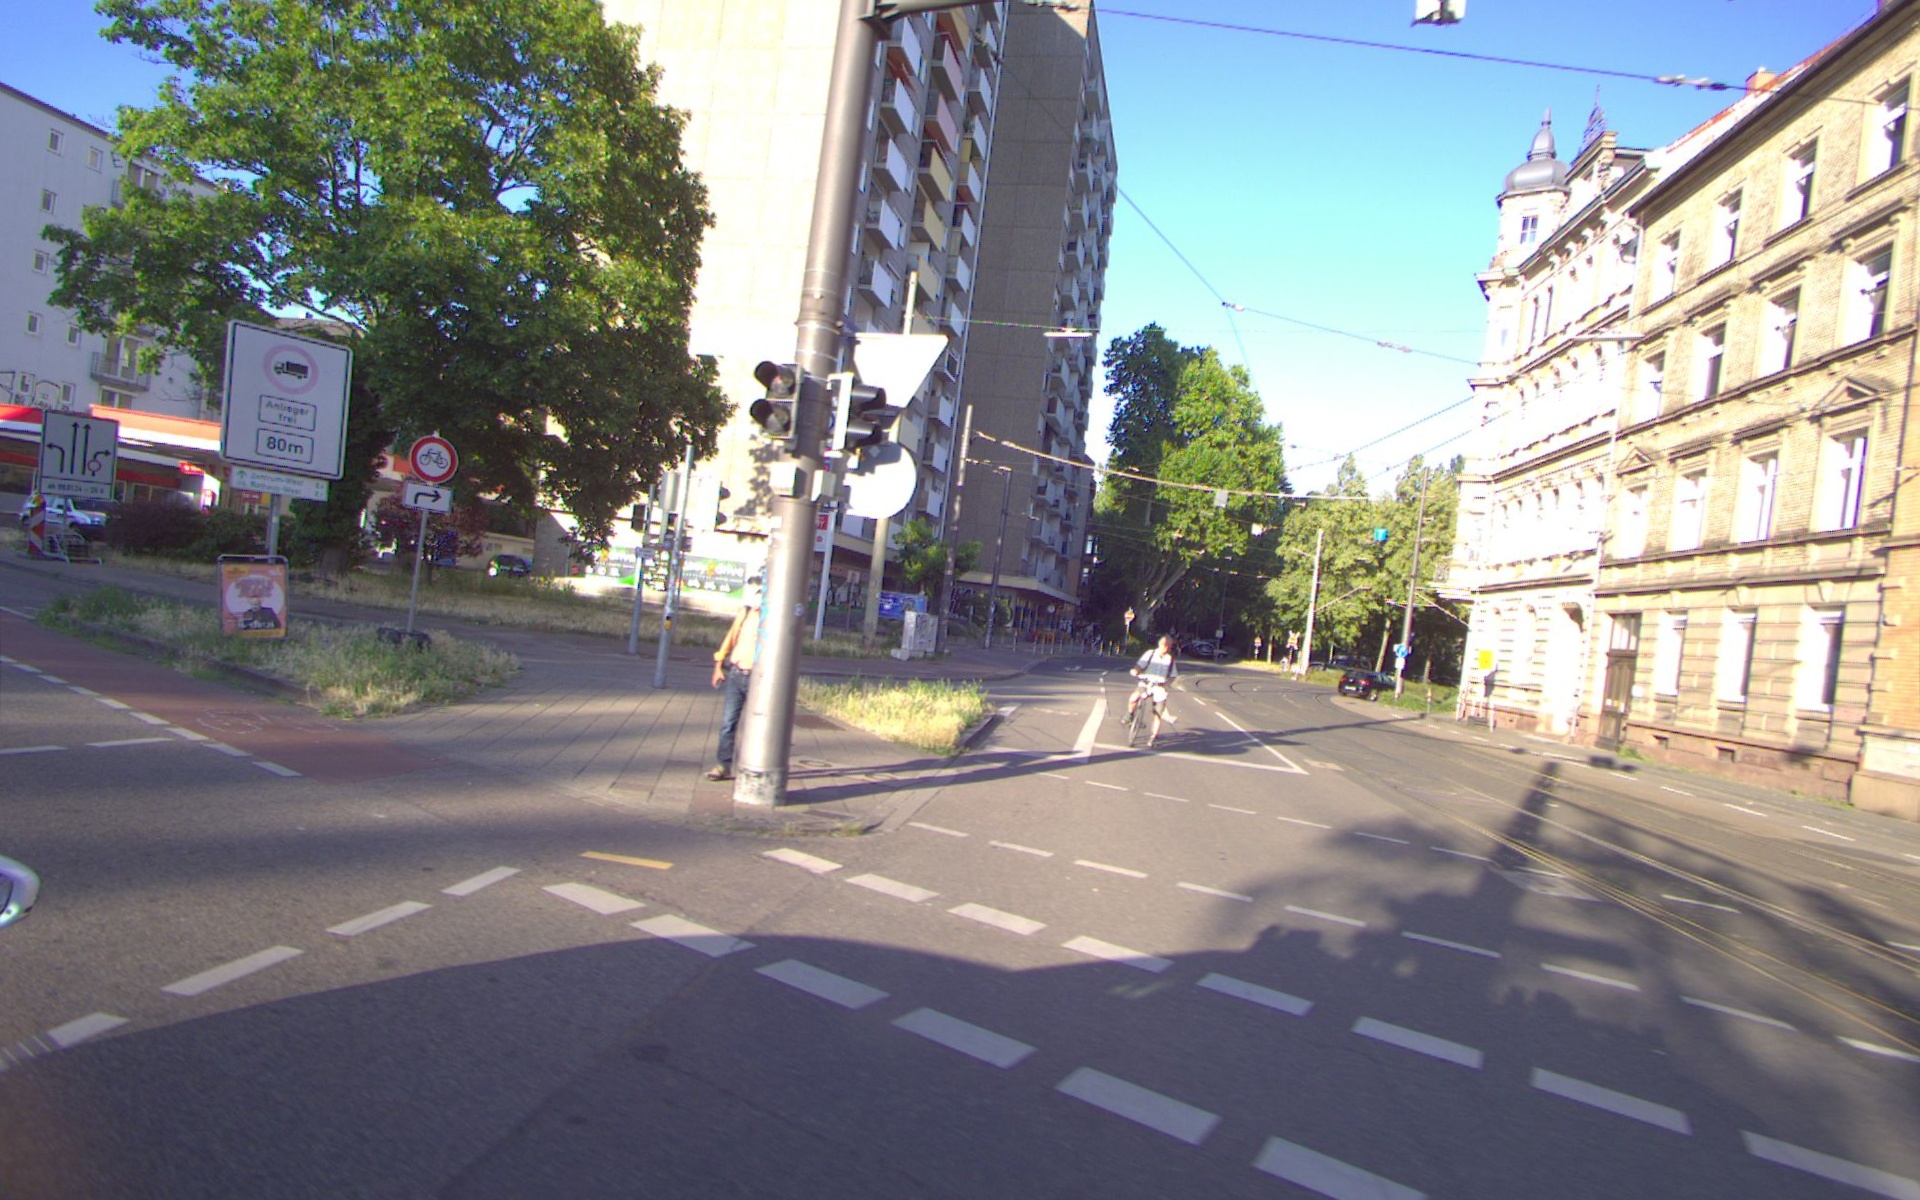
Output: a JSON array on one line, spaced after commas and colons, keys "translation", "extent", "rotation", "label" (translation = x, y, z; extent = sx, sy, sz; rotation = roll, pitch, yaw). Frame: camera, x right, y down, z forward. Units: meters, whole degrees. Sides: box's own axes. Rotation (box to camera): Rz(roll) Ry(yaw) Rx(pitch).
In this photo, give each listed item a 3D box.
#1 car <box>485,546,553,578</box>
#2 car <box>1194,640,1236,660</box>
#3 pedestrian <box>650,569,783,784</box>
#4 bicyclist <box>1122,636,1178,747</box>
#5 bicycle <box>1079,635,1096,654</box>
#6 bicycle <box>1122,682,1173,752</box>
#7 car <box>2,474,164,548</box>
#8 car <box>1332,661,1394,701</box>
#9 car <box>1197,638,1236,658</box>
[{"translation": [-26.645, -2.294, 60.812], "extent": [3.373, 1.398, 1.576], "rotation": [8, 0, 16], "label": "car"}, {"translation": [25.508, 5.020, 100.688], "extent": [3.517, 1.477, 1.829], "rotation": [8, 0, -4], "label": "car"}, {"translation": [-2.031, 0.625, 8.410], "extent": [0.687, 1.648, 0.553], "rotation": [8, 1, 27], "label": "pedestrian"}, {"translation": [2.919, 1.397, 15.540], "extent": [0.625, 1.603, 0.696], "rotation": [7, 1, 9], "label": "bicyclist"}, {"translation": [7.980, 2.772, 62.845], "extent": [0.548, 0.992, 1.725], "rotation": [8, -3, 19], "label": "bicycle"}, {"translation": [2.863, 1.770, 15.486], "extent": [0.610, 0.839, 1.816], "rotation": [8, 0, 9], "label": "bicycle"}, {"translation": [-26.086, -2.642, 29.925], "extent": [4.272, 1.548, 1.777], "rotation": [8, 0, 22], "label": "car"}, {"translation": [20.232, 4.079, 50.400], "extent": [1.795, 1.637, 3.988], "rotation": [8, 0, 36], "label": "car"}, {"translation": [28.402, 5.282, 111.510], "extent": [3.924, 1.637, 1.825], "rotation": [8, 0, 9], "label": "car"}]
